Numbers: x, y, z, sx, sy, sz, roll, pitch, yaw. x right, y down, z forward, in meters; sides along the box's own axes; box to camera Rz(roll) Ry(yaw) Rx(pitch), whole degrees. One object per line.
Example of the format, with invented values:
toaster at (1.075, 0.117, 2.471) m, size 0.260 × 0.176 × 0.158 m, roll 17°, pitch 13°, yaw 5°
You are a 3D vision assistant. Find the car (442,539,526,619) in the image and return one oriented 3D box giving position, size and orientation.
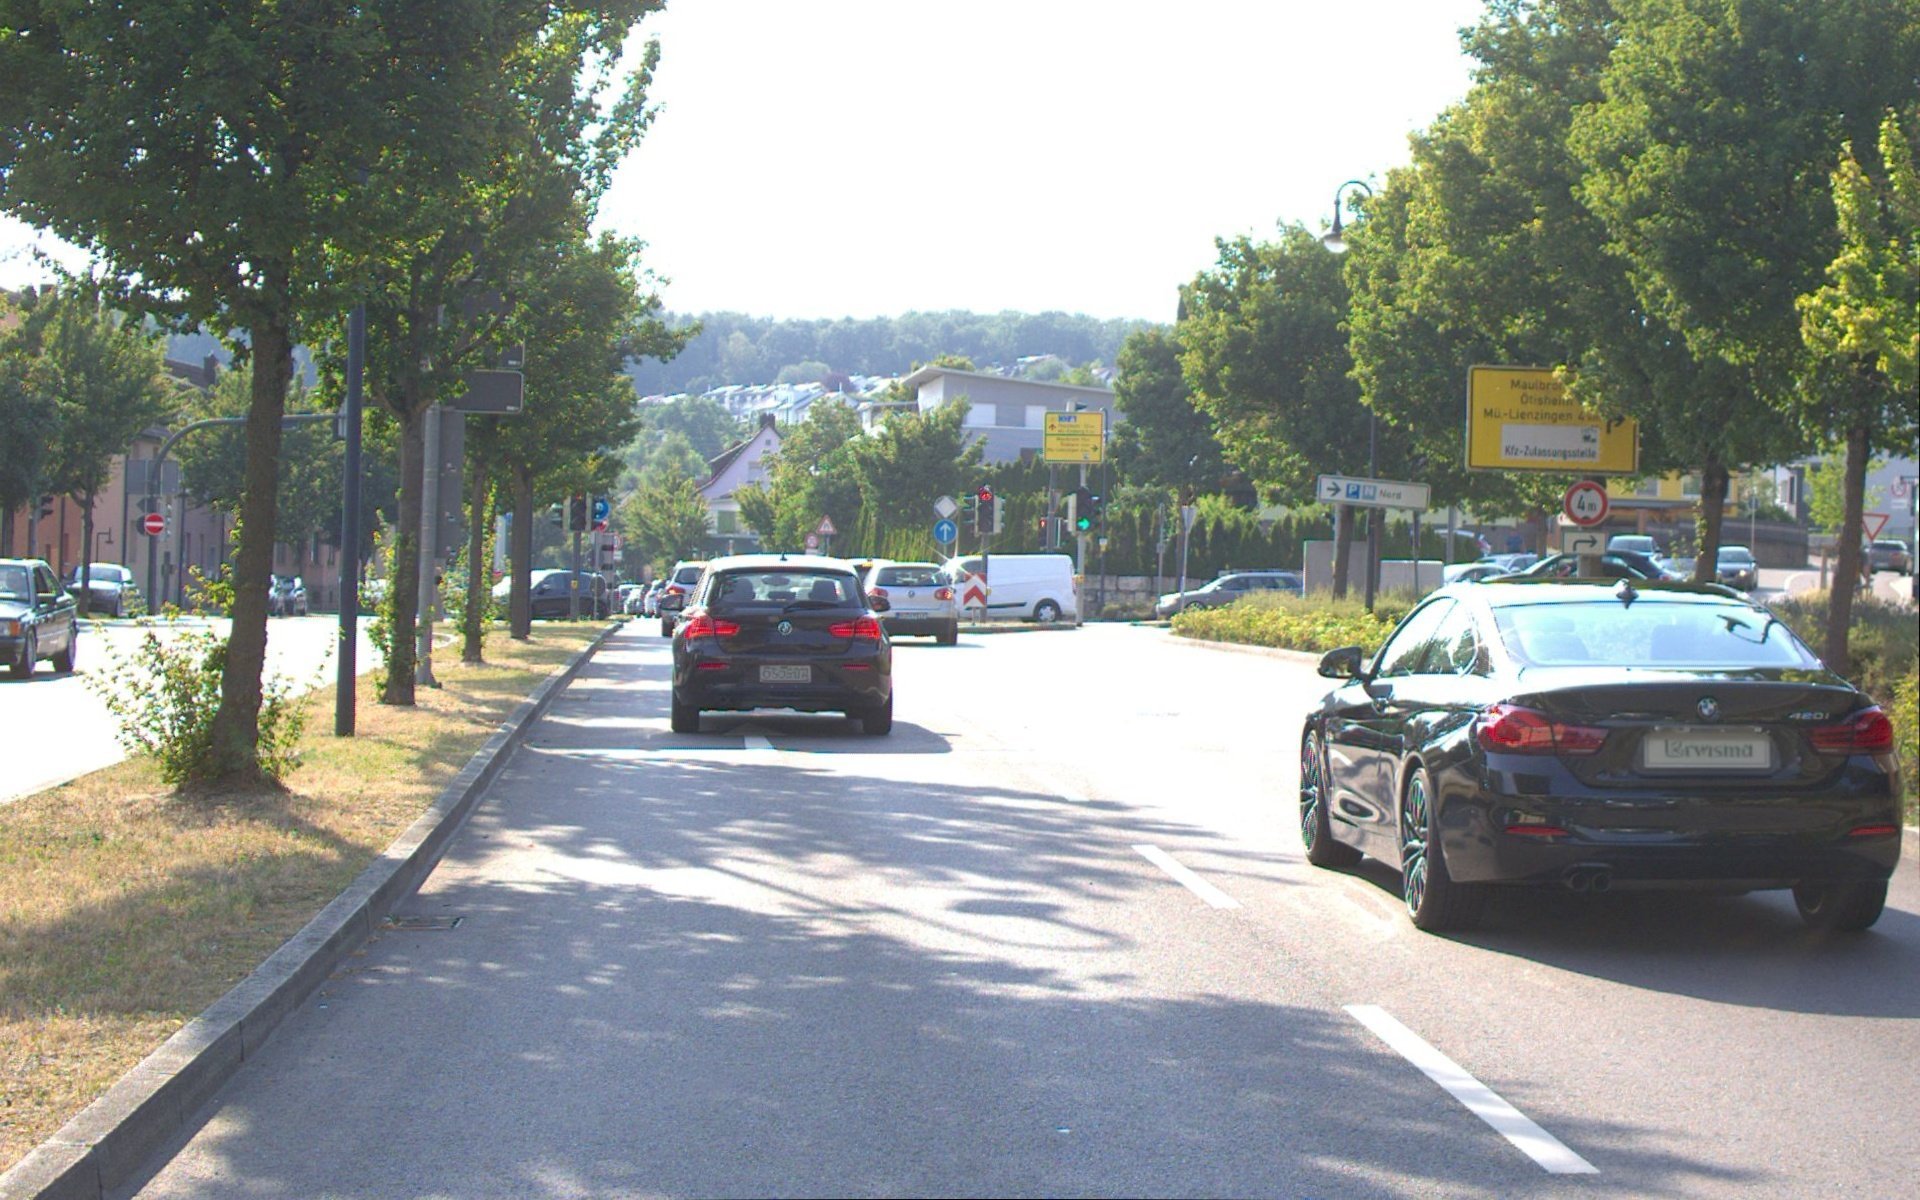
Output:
car at (-12.573, -0.583, 90.992) m, size 2.139 × 2.002 × 5.126 m, roll 0°, pitch 1°, yaw -7°

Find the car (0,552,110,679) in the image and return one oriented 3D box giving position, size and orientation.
car at (-11.161, 0.138, 39.820) m, size 1.756 × 1.356 × 4.485 m, roll 0°, pitch 1°, yaw -3°

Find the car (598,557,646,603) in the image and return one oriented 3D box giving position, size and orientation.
car at (-15.155, -0.903, 154.190) m, size 1.772 × 2.007 × 4.000 m, roll 1°, pitch 1°, yaw 0°

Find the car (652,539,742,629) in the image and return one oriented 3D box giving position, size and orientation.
car at (-5.364, -0.358, 69.864) m, size 1.756 × 1.763 × 3.972 m, roll 0°, pitch 1°, yaw -5°

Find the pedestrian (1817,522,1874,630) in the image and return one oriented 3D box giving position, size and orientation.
pedestrian at (14.131, -0.386, 54.891) m, size 0.696 × 1.697 × 0.950 m, roll 0°, pitch 1°, yaw 4°

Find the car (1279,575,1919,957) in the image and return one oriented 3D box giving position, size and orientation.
car at (2.600, 0.586, 14.608) m, size 1.920 × 1.359 × 4.353 m, roll 0°, pitch 1°, yaw -2°

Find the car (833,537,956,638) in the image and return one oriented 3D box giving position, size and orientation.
car at (-1.224, -0.253, 62.565) m, size 1.925 × 1.763 × 4.455 m, roll 0°, pitch 1°, yaw -5°

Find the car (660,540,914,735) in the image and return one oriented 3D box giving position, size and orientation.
car at (-1.374, 0.252, 28.837) m, size 1.721 × 1.485 × 4.353 m, roll 1°, pitch 1°, yaw 2°

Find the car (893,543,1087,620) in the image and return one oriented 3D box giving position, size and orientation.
car at (0.826, -0.529, 96.988) m, size 5.106 × 2.122 × 2.147 m, roll 0°, pitch 1°, yaw -13°

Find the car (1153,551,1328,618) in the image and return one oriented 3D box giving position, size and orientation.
car at (8.379, -0.486, 102.961) m, size 4.947 × 1.922 × 2.147 m, roll 1°, pitch 1°, yaw -3°

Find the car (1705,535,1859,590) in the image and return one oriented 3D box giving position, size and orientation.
car at (27.817, -1.274, 116.416) m, size 4.629 × 1.823 × 2.000 m, roll 0°, pitch 1°, yaw -7°

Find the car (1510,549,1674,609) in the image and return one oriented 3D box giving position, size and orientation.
car at (19.705, -0.660, 107.286) m, size 4.629 × 1.823 × 2.000 m, roll 0°, pitch 1°, yaw -7°

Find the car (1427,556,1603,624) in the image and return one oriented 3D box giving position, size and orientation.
car at (16.062, -0.288, 99.633) m, size 4.533 × 1.922 × 2.147 m, roll 0°, pitch 1°, yaw -16°
